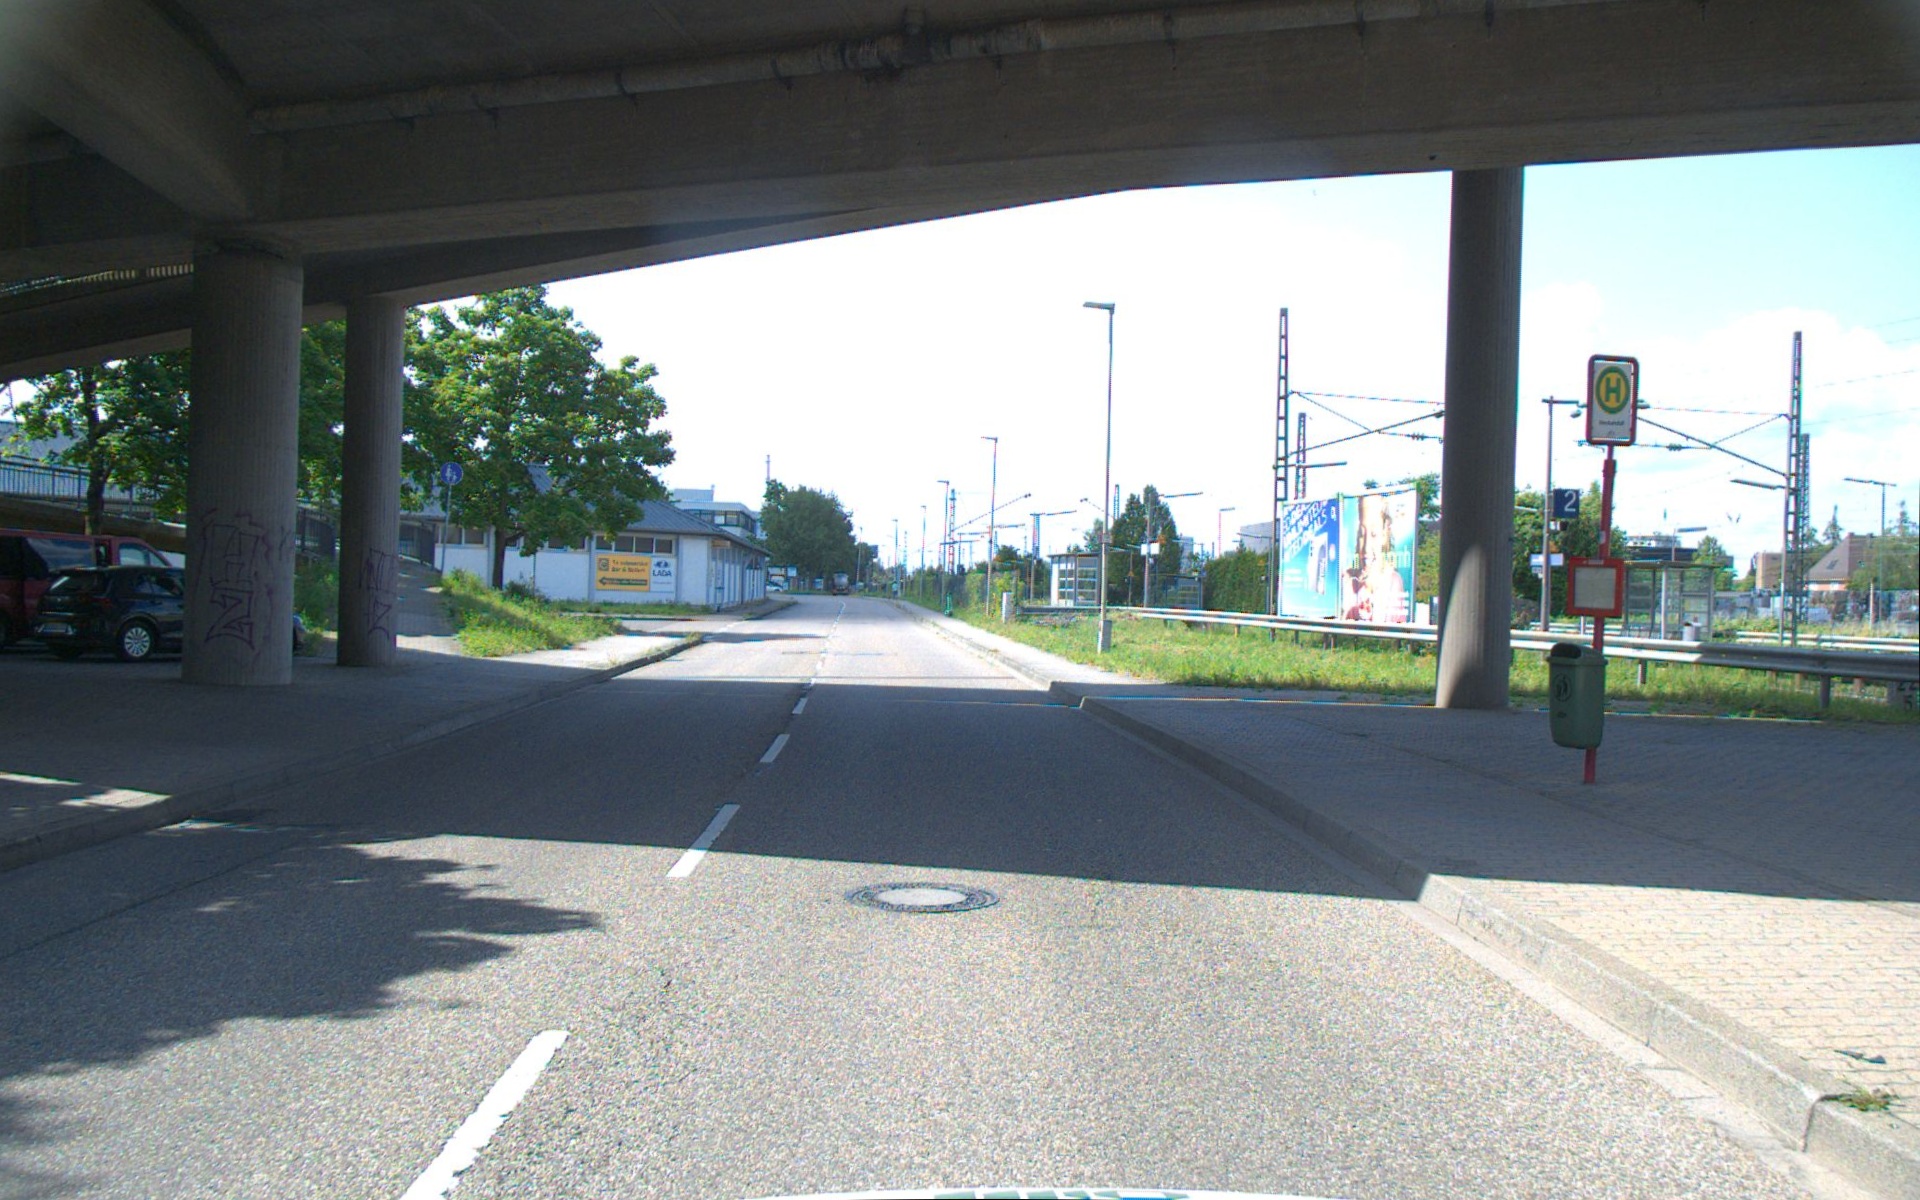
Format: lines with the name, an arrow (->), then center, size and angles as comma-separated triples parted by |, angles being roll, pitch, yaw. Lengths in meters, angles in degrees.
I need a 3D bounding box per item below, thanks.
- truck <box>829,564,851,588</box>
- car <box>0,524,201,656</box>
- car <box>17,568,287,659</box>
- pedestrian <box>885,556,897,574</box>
truck -> -18.769, -3.690, 259.802 | 3.067, 3.695, 6.421 | 1, 0, -1
car -> -14.938, -0.168, 27.350 | 1.907, 2.049, 3.945 | 1, 0, 34
car -> -12.540, 0.183, 25.824 | 1.658, 1.307, 3.440 | 1, 1, 33
pedestrian -> -7.929, -3.993, 190.680 | 1.052, 2.048, 0.838 | 1, 1, -44
